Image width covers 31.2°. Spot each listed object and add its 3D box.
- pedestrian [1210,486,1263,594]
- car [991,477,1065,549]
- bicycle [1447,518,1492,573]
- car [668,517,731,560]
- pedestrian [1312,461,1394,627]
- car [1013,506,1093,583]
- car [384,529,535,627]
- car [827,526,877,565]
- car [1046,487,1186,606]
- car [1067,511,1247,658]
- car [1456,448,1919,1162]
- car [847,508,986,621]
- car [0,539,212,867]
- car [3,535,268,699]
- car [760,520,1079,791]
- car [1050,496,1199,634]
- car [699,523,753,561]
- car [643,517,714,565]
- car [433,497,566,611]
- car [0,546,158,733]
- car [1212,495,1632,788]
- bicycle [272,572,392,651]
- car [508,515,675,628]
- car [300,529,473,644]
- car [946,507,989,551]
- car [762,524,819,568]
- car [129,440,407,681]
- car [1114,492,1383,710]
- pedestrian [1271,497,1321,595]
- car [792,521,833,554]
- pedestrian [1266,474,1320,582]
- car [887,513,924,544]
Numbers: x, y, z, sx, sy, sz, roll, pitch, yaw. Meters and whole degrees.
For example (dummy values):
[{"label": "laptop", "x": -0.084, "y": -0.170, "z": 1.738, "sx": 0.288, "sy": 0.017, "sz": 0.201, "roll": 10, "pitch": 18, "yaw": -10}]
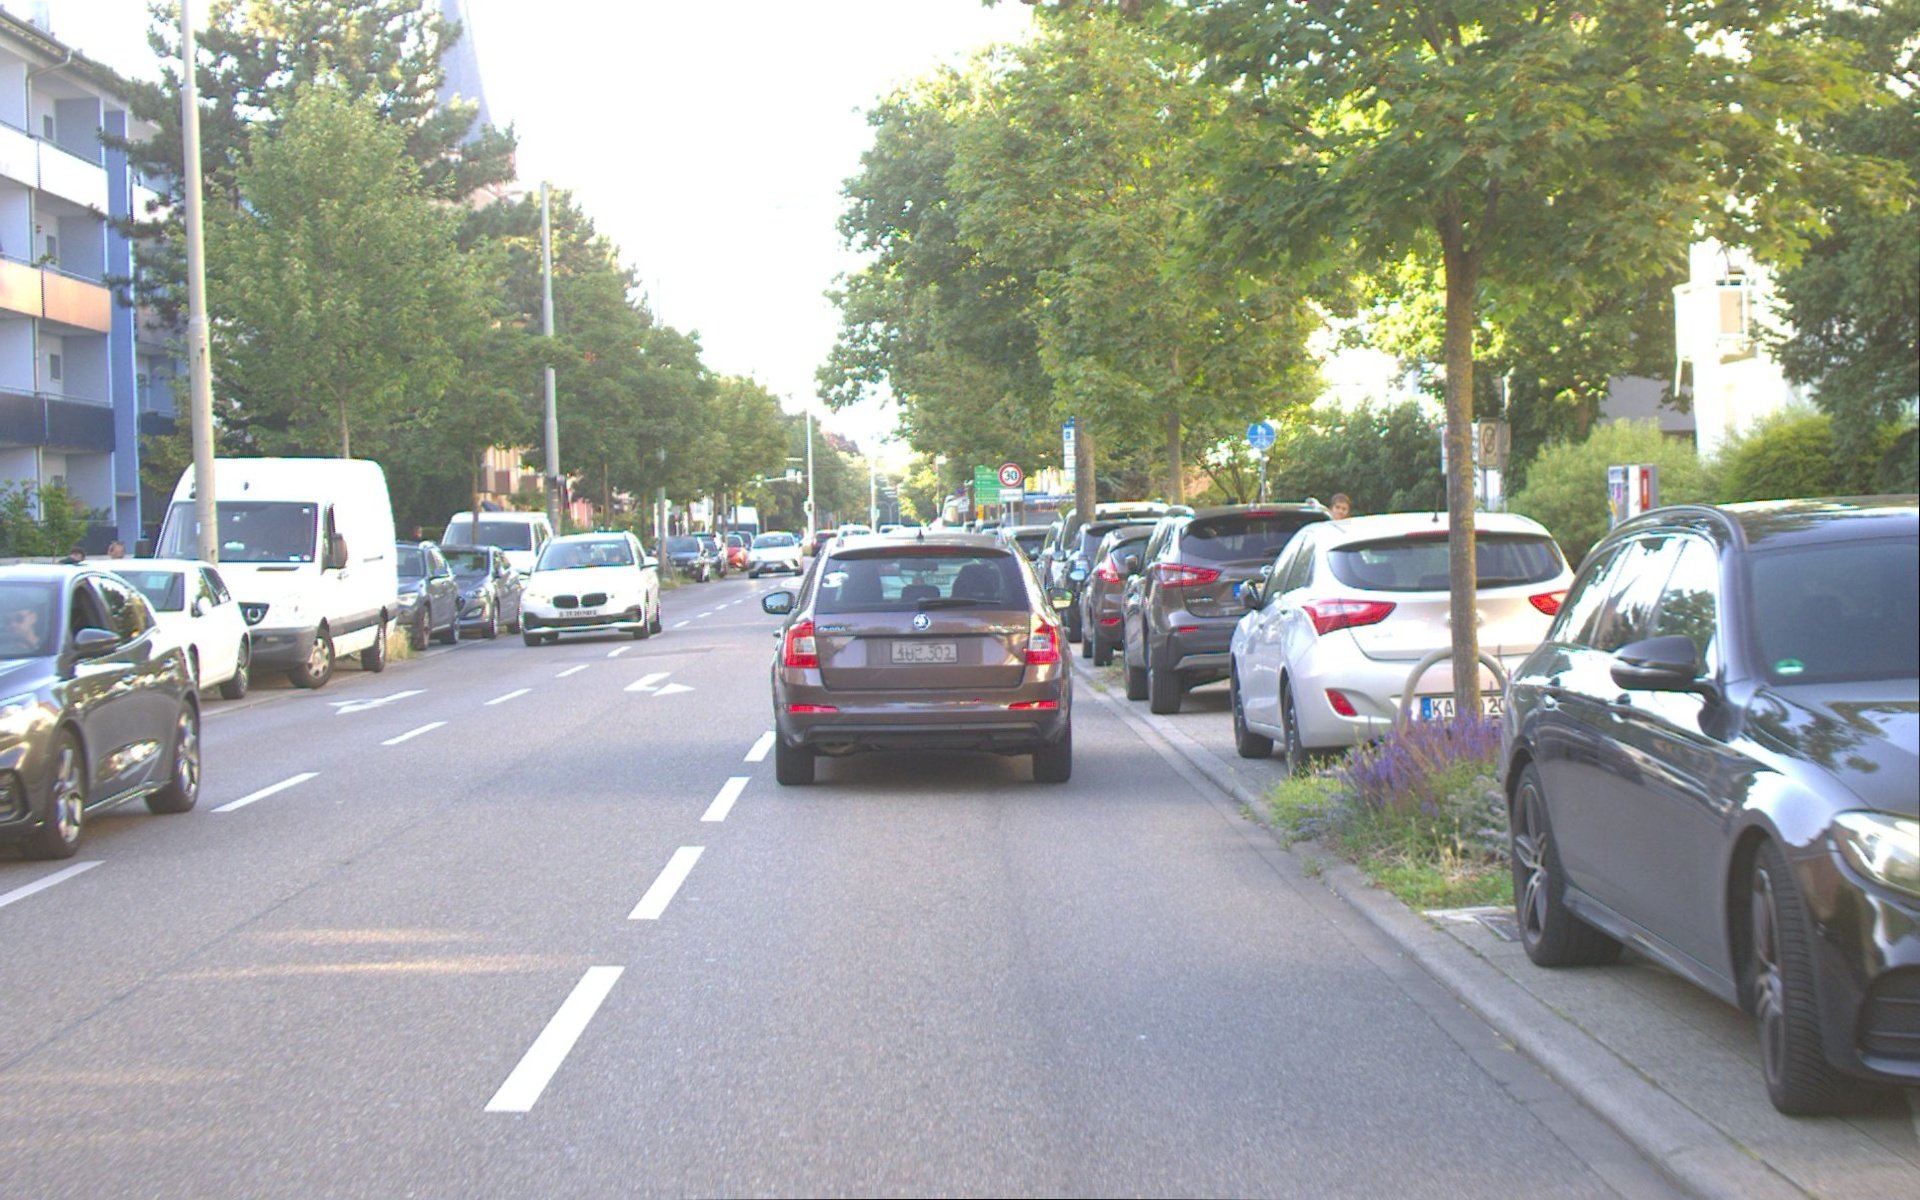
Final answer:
[{"label": "pedestrian", "x": 4.865, "y": -1.051, "z": 60.490, "sx": 0.749, "sy": 1.854, "sz": 1.068, "roll": -2, "pitch": 1, "yaw": -1}, {"label": "car", "x": 1.835, "y": -2.361, "z": 93.608, "sx": 1.916, "sy": 1.854, "sz": 5.633, "roll": -1, "pitch": 1, "yaw": 1}, {"label": "bicycle", "x": 8.986, "y": -0.960, "z": 60.709, "sx": 0.475, "sy": 0.941, "sz": 1.680, "roll": -2, "pitch": 1, "yaw": -1}, {"label": "car", "x": -9.063, "y": -2.154, "z": 119.859, "sx": 1.781, "sy": 1.475, "sz": 3.971, "roll": 0, "pitch": 1, "yaw": 2}, {"label": "pedestrian", "x": 4.085, "y": -0.581, "z": 35.792, "sx": 0.788, "sy": 1.694, "sz": 0.807, "roll": -1, "pitch": 1, "yaw": 4}, {"label": "car", "x": 2.067, "y": -1.269, "z": 77.124, "sx": 1.754, "sy": 1.680, "sz": 4.252, "roll": 0, "pitch": 1, "yaw": 1}, {"label": "car", "x": -8.041, "y": -0.384, "z": 55.539, "sx": 1.692, "sy": 1.478, "sz": 4.143, "roll": -1, "pitch": 1, "yaw": 2}, {"label": "car", "x": -4.168, "y": -2.117, "z": 132.593, "sx": 1.780, "sy": 1.475, "sz": 3.972, "roll": 0, "pitch": 1, "yaw": -4}, {"label": "car", "x": 2.418, "y": -0.860, "z": 54.227, "sx": 1.800, "sy": 1.802, "sz": 4.425, "roll": 0, "pitch": 1, "yaw": -3}, {"label": "car", "x": 2.101, "y": -0.208, "z": 37.628, "sx": 1.613, "sy": 1.461, "sz": 3.959, "roll": -3, "pitch": 1, "yaw": -1}, {"label": "car", "x": 2.736, "y": 0.366, "z": 10.052, "sx": 1.874, "sy": 1.575, "sz": 4.821, "roll": -3, "pitch": 1, "yaw": 1}, {"label": "car", "x": -0.652, "y": -0.508, "z": 49.959, "sx": 1.892, "sy": 1.501, "sz": 3.790, "roll": 2, "pitch": 0, "yaw": -1}, {"label": "car", "x": -5.130, "y": 0.462, "z": 17.690, "sx": 1.700, "sy": 1.465, "sz": 4.294, "roll": -3, "pitch": 1, "yaw": -2}, {"label": "car", "x": -8.189, "y": 0.120, "z": 34.467, "sx": 1.706, "sy": 1.487, "sz": 4.059, "roll": 1, "pitch": 1, "yaw": -1}, {"label": "car", "x": -0.190, "y": 0.259, "z": 20.944, "sx": 1.754, "sy": 1.487, "sz": 4.000, "roll": 0, "pitch": 1, "yaw": 1}, {"label": "car", "x": 2.104, "y": -0.488, "z": 45.046, "sx": 1.754, "sy": 1.657, "sz": 4.252, "roll": -2, "pitch": 1, "yaw": 1}, {"label": "car", "x": -9.237, "y": -2.321, "z": 136.030, "sx": 1.781, "sy": 1.475, "sz": 3.971, "roll": 0, "pitch": 1, "yaw": 2}, {"label": "car", "x": -8.765, "y": -1.861, "z": 107.344, "sx": 1.781, "sy": 1.475, "sz": 4.033, "roll": 0, "pitch": 1, "yaw": 2}, {"label": "car", "x": -8.507, "y": -0.884, "z": 63.910, "sx": 1.868, "sy": 2.024, "sz": 5.301, "roll": -1, "pitch": 1, "yaw": -1}, {"label": "car", "x": -8.168, "y": 0.292, "z": 29.792, "sx": 1.612, "sy": 1.468, "sz": 3.813, "roll": 1, "pitch": 1, "yaw": -1}, {"label": "car", "x": 2.586, "y": 0.165, "z": 20.211, "sx": 1.718, "sy": 1.489, "sz": 4.395, "roll": -2, "pitch": 1, "yaw": -2}, {"label": "bicycle", "x": -8.172, "y": 0.149, "z": 44.740, "sx": 1.472, "sy": 1.011, "sz": 0.439, "roll": 0, "pitch": 1, "yaw": 7}, {"label": "car", "x": -5.363, "y": -0.449, "z": 50.518, "sx": 1.879, "sy": 1.537, "sz": 4.267, "roll": -2, "pitch": 1, "yaw": 1}, {"label": "car", "x": -8.293, "y": -0.231, "z": 50.052, "sx": 1.672, "sy": 1.537, "sz": 4.473, "roll": -2, "pitch": 1, "yaw": 1}, {"label": "car", "x": 0.298, "y": -2.924, "z": 141.575, "sx": 1.754, "sy": 1.799, "sz": 4.000, "roll": 0, "pitch": 1, "yaw": 0}, {"label": "car", "x": -5.845, "y": -1.875, "z": 118.628, "sx": 1.781, "sy": 1.489, "sz": 3.971, "roll": 0, "pitch": 1, "yaw": 0}, {"label": "car", "x": -8.058, "y": -0.517, "z": 40.758, "sx": 1.993, "sy": 2.607, "sz": 7.106, "roll": 0, "pitch": 1, "yaw": -1}, {"label": "car", "x": 2.264, "y": -0.044, "z": 27.892, "sx": 1.718, "sy": 1.595, "sz": 4.096, "roll": -2, "pitch": 1, "yaw": -1}, {"label": "pedestrian", "x": 6.051, "y": -0.976, "z": 61.934, "sx": 0.799, "sy": 1.715, "sz": 0.744, "roll": -2, "pitch": 1, "yaw": 8}, {"label": "car", "x": -8.138, "y": -3.465, "z": 189.846, "sx": 1.993, "sy": 1.744, "sz": 4.001, "roll": -2, "pitch": 1, "yaw": -6}, {"label": "pedestrian", "x": 5.817, "y": -1.262, "z": 60.005, "sx": 0.799, "sy": 1.854, "sz": 0.950, "roll": -2, "pitch": 1, "yaw": 10}, {"label": "car", "x": -2.959, "y": -3.854, "z": 184.771, "sx": 1.644, "sy": 1.593, "sz": 3.651, "roll": -2, "pitch": 1, "yaw": -6}]
